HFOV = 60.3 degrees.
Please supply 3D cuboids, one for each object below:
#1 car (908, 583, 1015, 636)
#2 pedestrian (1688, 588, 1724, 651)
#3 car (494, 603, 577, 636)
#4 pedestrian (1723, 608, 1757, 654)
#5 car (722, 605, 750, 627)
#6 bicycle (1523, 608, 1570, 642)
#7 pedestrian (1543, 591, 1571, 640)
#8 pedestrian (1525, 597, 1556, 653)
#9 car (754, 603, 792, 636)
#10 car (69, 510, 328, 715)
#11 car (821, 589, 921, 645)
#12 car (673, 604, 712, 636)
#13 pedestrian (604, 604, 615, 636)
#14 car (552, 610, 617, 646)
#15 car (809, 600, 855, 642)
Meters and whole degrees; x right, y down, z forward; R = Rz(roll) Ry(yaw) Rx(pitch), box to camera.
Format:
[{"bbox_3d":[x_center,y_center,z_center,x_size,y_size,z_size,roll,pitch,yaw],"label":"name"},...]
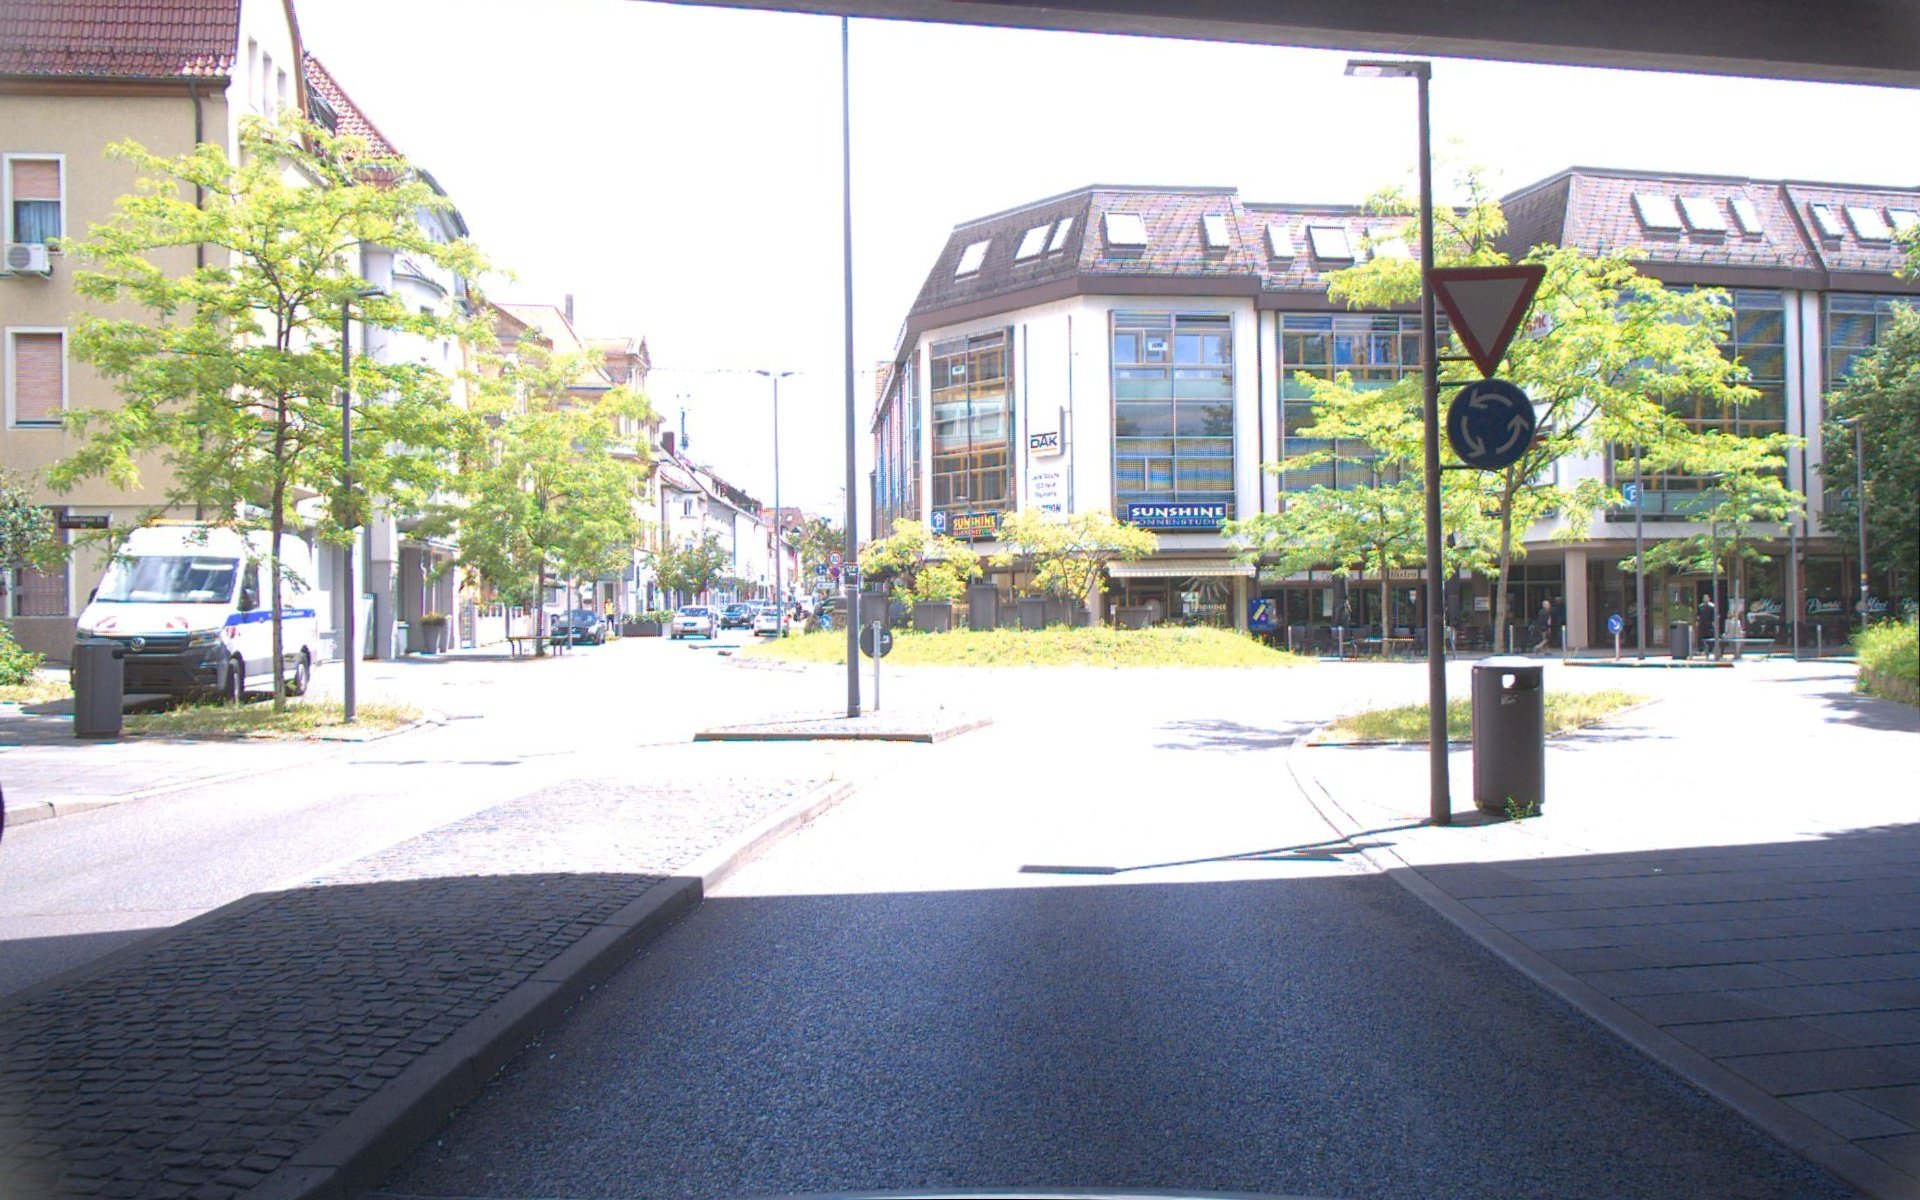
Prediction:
[{"bbox_3d":[-0.005,0.309,55.498,1.966,1.717,4.660,0,0,-22],"label":"car"},{"bbox_3d":[22.564,0.589,50.039,0.604,1.850,0.696,-4,0,-11],"label":"pedestrian"},{"bbox_3d":[-23.734,1.064,92.510,4.355,1.807,1.987,0,-1,-21],"label":"car"},{"bbox_3d":[22.261,0.886,47.208,0.603,1.307,0.697,0,0,-3],"label":"pedestrian"},{"bbox_3d":[-14.275,1.001,105.322,1.678,1.378,3.992,0,0,-9],"label":"car"},{"bbox_3d":[20.548,0.869,57.953,1.509,1.188,0.495,0,-1,28],"label":"bicycle"},{"bbox_3d":[20.858,0.548,57.787,0.684,1.704,0.615,0,0,-16],"label":"pedestrian"},{"bbox_3d":[17.943,0.766,51.153,0.688,1.704,0.611,0,0,-29],"label":"pedestrian"},{"bbox_3d":[-9.257,0.963,82.028,1.789,1.546,4.227,-1,-1,-6],"label":"car"},{"bbox_3d":[-11.056,0.173,24.534,1.931,2.652,5.917,1,0,-9],"label":"car"},{"bbox_3d":[-3.000,0.557,54.688,1.800,1.737,4.406,2,-1,-24],"label":"car"},{"bbox_3d":[-11.885,0.857,73.743,1.678,1.378,3.992,0,0,-9],"label":"car"},{"bbox_3d":[-18.806,1.080,88.679,0.541,1.715,0.515,0,0,-8],"label":"pedestrian"},{"bbox_3d":[-14.047,1.016,62.067,1.676,1.267,4.408,0,0,-4],"label":"car"},{"bbox_3d":[-5.618,0.915,72.846,1.787,1.761,4.231,-1,0,-2],"label":"car"}]
